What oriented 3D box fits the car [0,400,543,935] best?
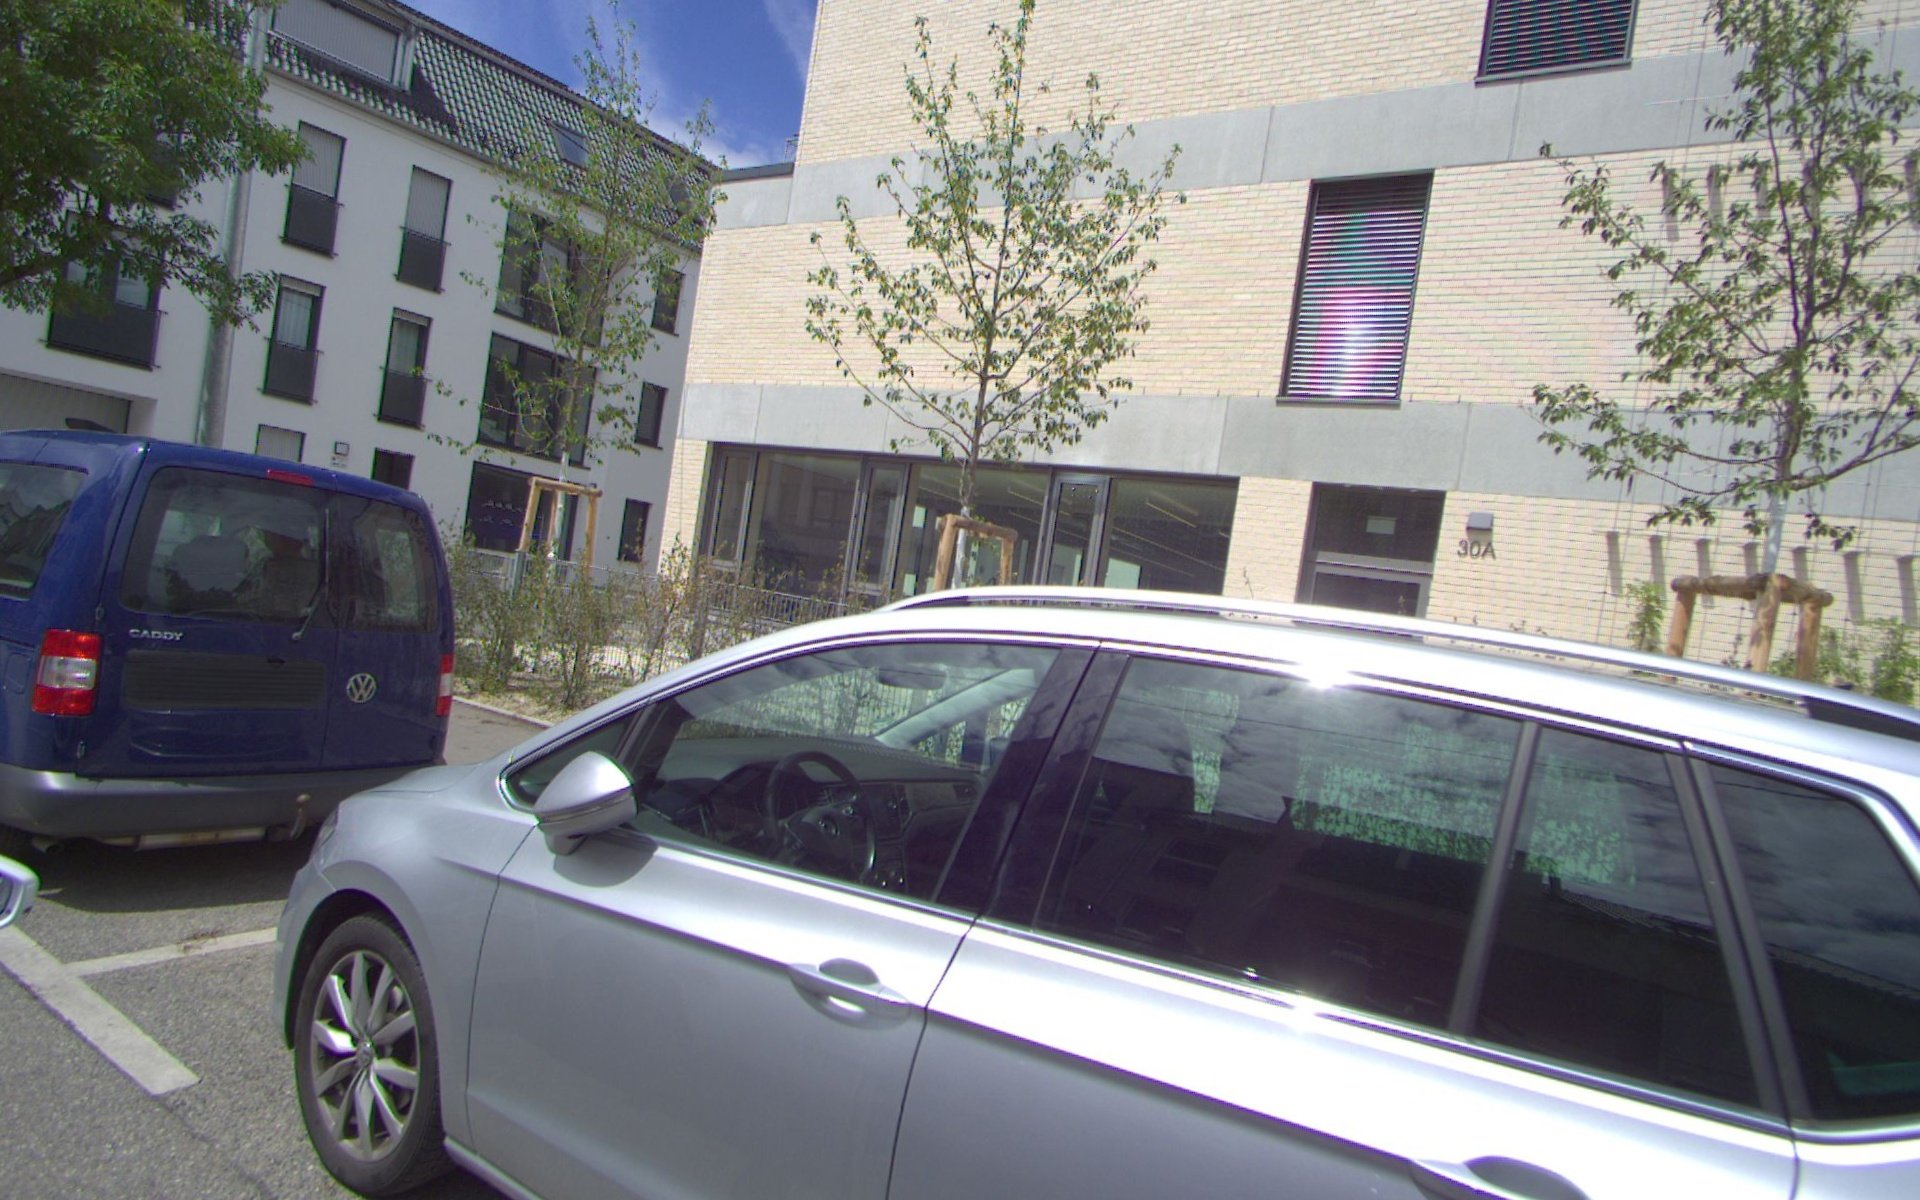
[{"bbox_3d":[-4.490,0.098,5.297,4.440,1.788,1.847,7,-1,32],"label":"car"}]

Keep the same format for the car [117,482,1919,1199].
[{"bbox_3d":[0.078,0.727,2.357,4.292,1.527,1.789,7,-1,32],"label":"car"}]

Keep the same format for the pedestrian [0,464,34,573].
[{"bbox_3d":[-14.977,-1.279,15.530,0.606,1.668,0.737,6,1,-15],"label":"pedestrian"}]
